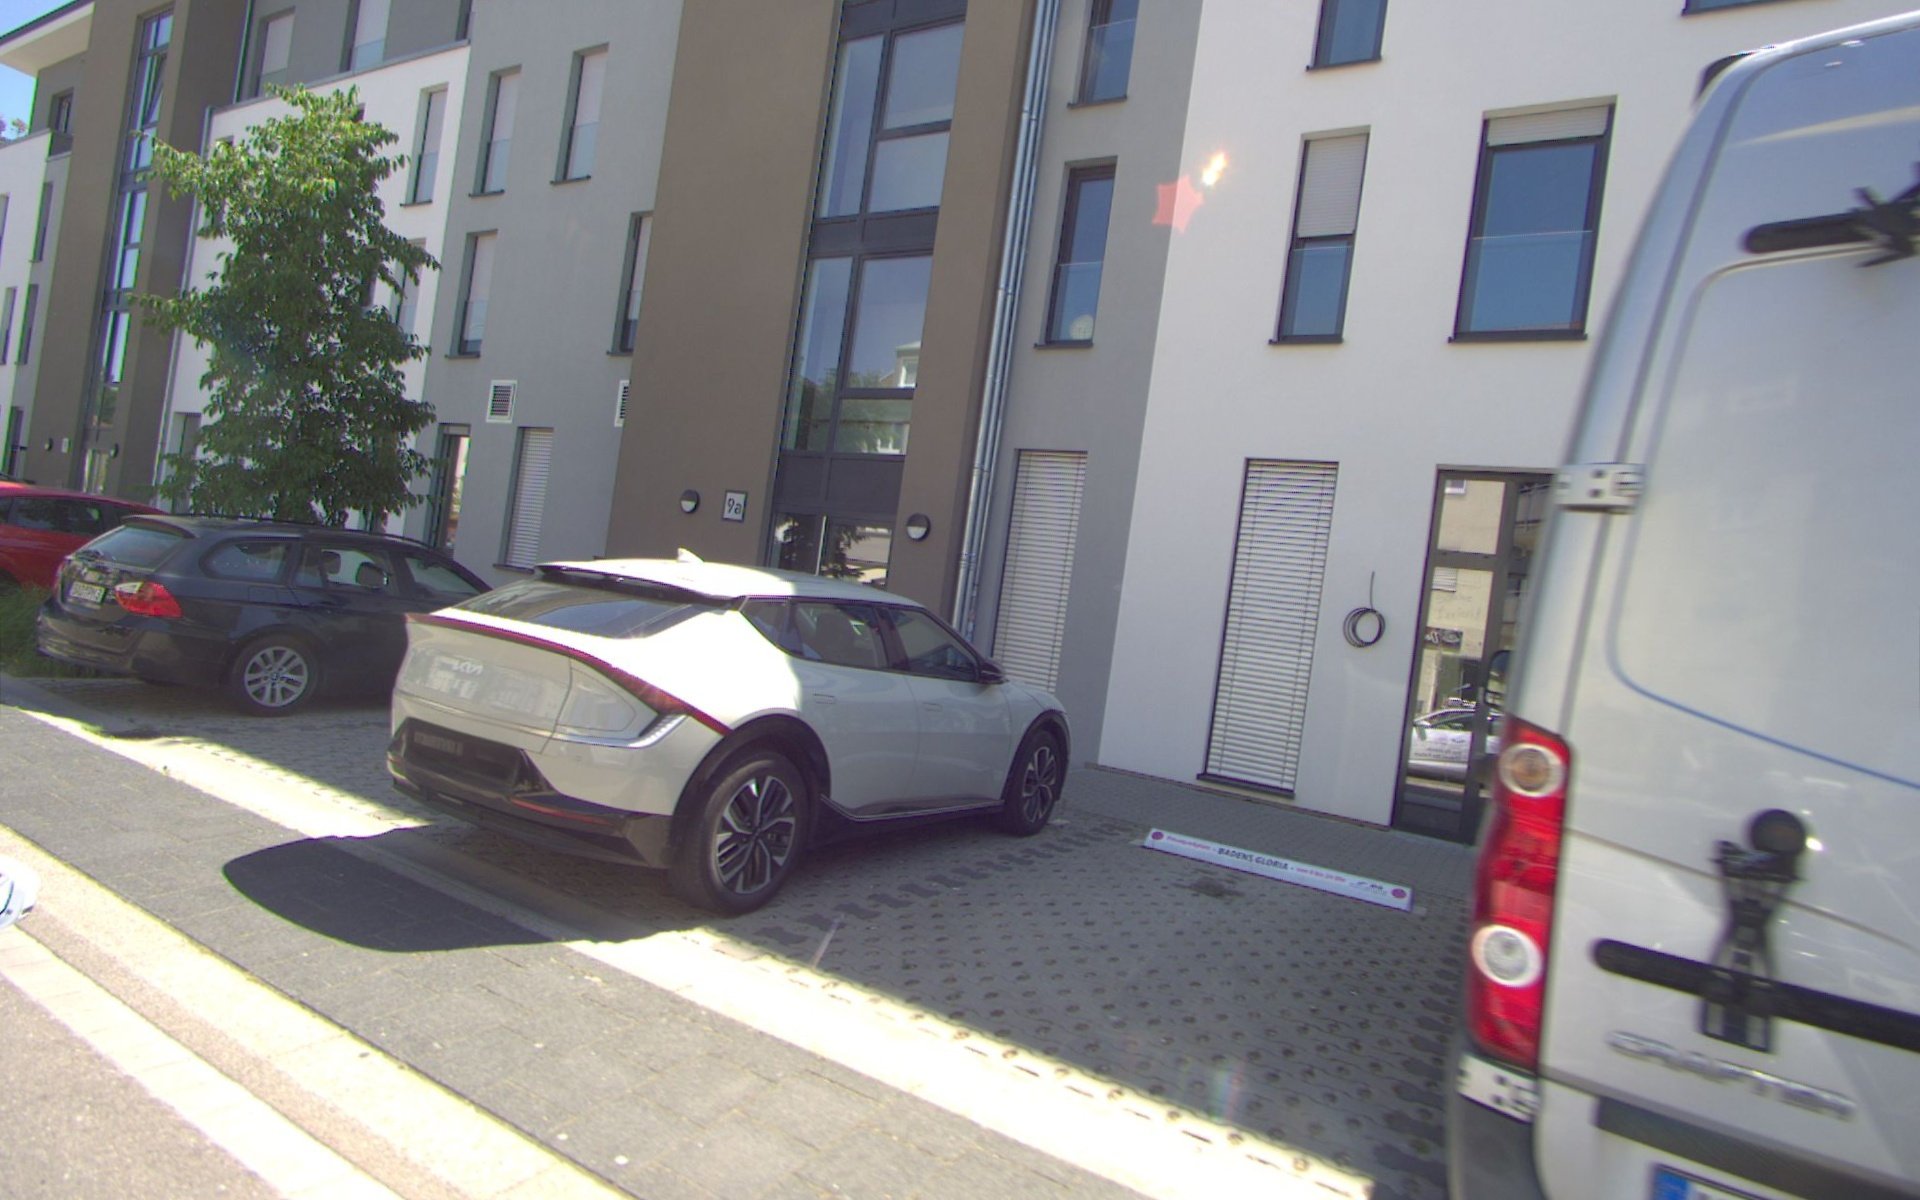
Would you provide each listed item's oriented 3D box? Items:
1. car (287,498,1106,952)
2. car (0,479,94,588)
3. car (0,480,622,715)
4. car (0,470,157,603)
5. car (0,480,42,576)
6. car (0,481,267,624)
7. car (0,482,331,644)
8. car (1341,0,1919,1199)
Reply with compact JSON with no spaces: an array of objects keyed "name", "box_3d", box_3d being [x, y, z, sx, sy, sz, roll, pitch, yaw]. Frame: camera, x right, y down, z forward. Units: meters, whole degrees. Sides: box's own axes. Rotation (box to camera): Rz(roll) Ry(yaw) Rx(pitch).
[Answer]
[{"name":"car","box_3d":[-1.003,0.609,6.083,1.967,1.547,4.596,7,-2,31]},{"name":"car","box_3d":[-15.865,-1.233,14.982,1.910,1.547,3.989,7,-2,30]},{"name":"car","box_3d":[-5.314,0.116,8.765,1.895,1.433,4.269,7,-2,28]},{"name":"car","box_3d":[-13.804,-1.044,13.681,1.910,1.623,3.989,7,-2,30]},{"name":"car","box_3d":[-17.557,-1.454,15.965,1.711,1.547,3.989,7,-2,30]},{"name":"car","box_3d":[-11.341,-0.651,12.544,1.733,1.448,3.989,7,-2,30]},{"name":"car","box_3d":[-9.383,-0.417,10.806,1.825,1.426,3.977,7,-1,29]},{"name":"car","box_3d":[3.074,0.438,3.502,2.159,2.764,5.952,7,-2,31]}]
